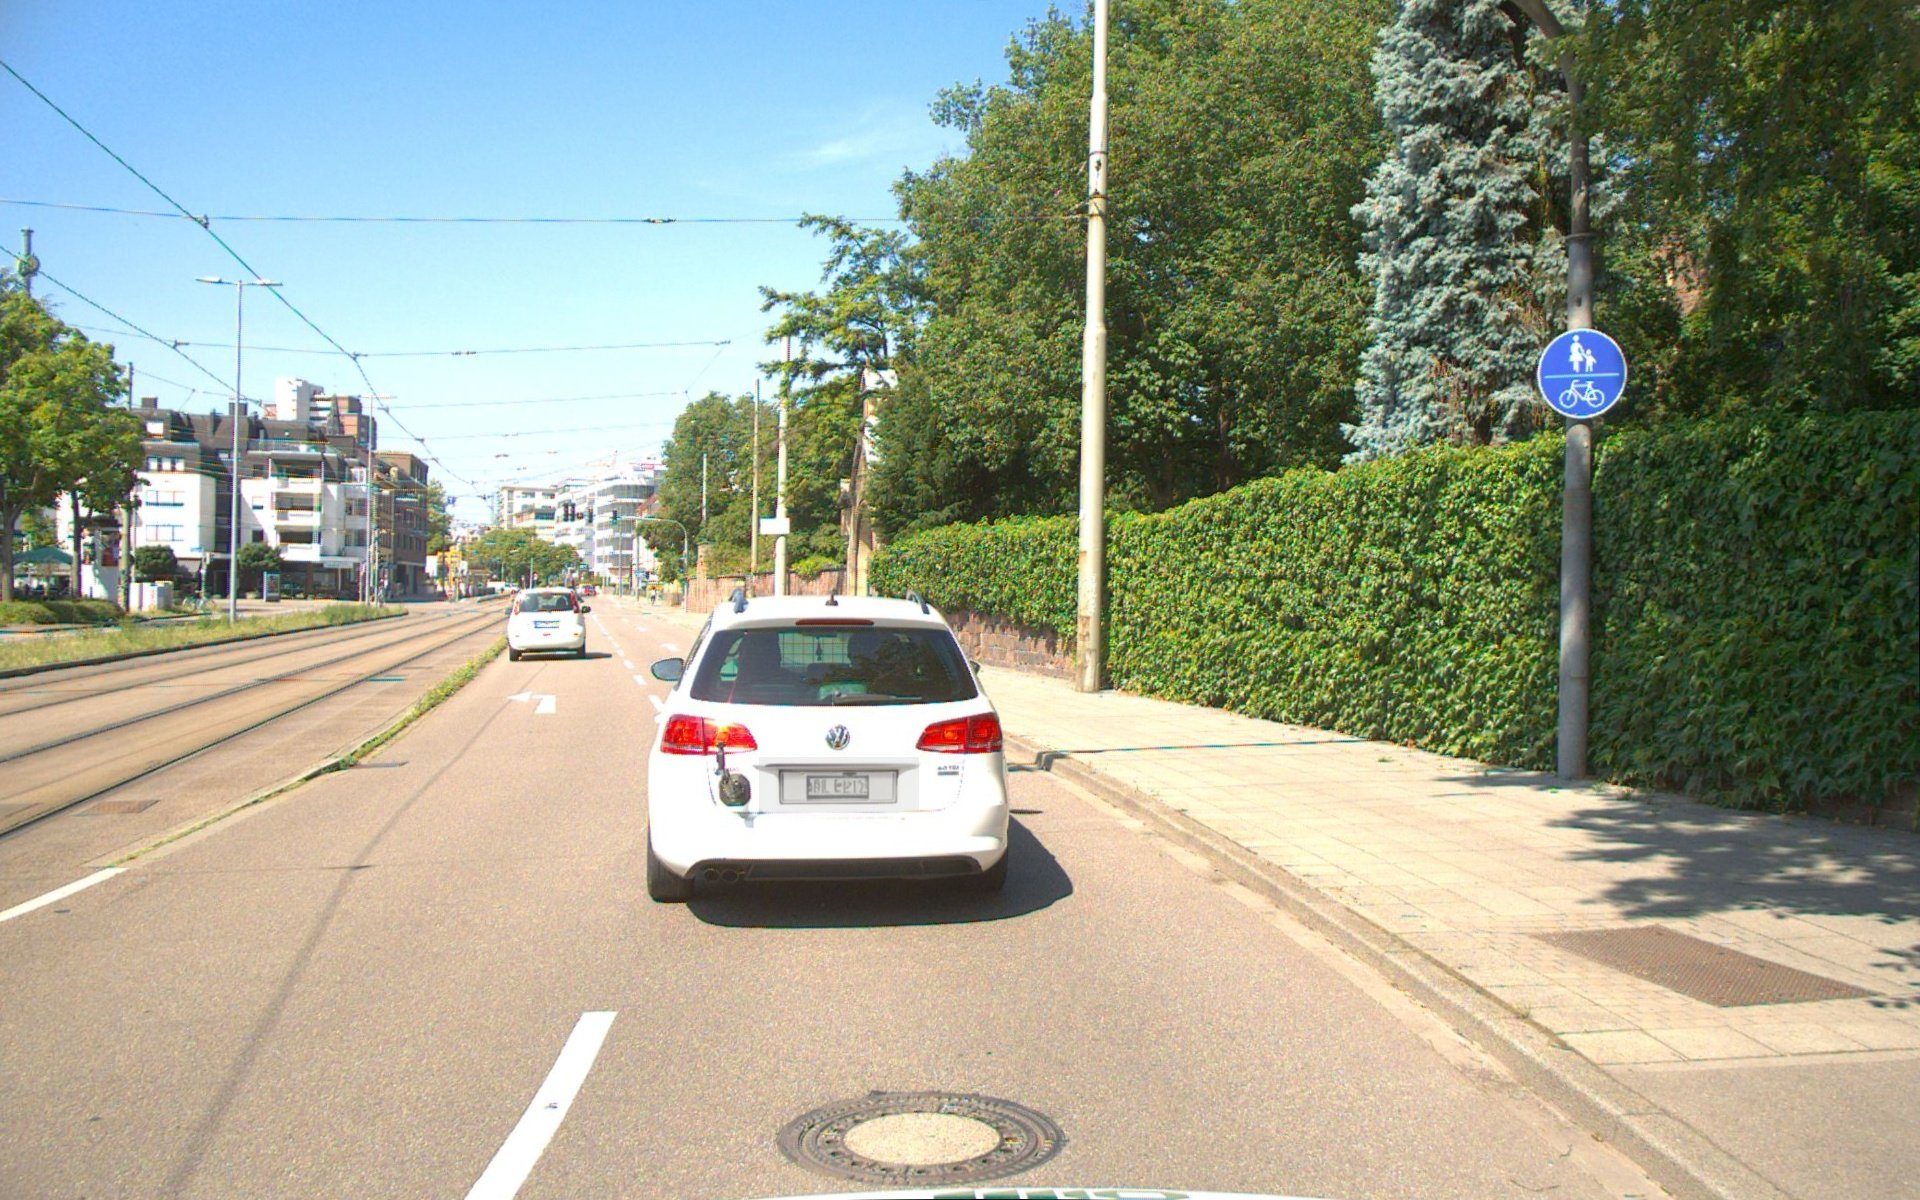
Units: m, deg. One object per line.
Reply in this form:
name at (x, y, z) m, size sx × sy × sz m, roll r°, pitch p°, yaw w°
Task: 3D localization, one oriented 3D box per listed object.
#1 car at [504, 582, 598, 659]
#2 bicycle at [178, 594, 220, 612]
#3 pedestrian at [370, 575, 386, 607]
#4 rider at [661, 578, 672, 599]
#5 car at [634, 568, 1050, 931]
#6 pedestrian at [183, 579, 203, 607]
car at (-9.212, 0.423, 37.507) m, size 1.698 × 1.624 × 4.003 m, roll 0°, pitch 1°, yaw -9°
bicycle at (-40.977, 0.156, 89.087) m, size 0.541 × 0.937 × 2.173 m, roll 0°, pitch 0°, yaw 30°
pedestrian at (-32.600, -0.499, 92.571) m, size 0.814 × 1.769 × 0.926 m, roll 0°, pitch 0°, yaw -21°
rider at (-25.087, -0.996, 141.291) m, size 0.875 × 1.759 × 2.196 m, roll 0°, pitch 0°, yaw -13°
car at (-0.670, 0.610, 8.897) m, size 1.744 × 1.516 × 3.842 m, roll 0°, pitch 0°, yaw -6°
pedestrian at (-41.456, -0.391, 89.361) m, size 0.554 × 1.513 × 0.814 m, roll 0°, pitch 0°, yaw 30°
